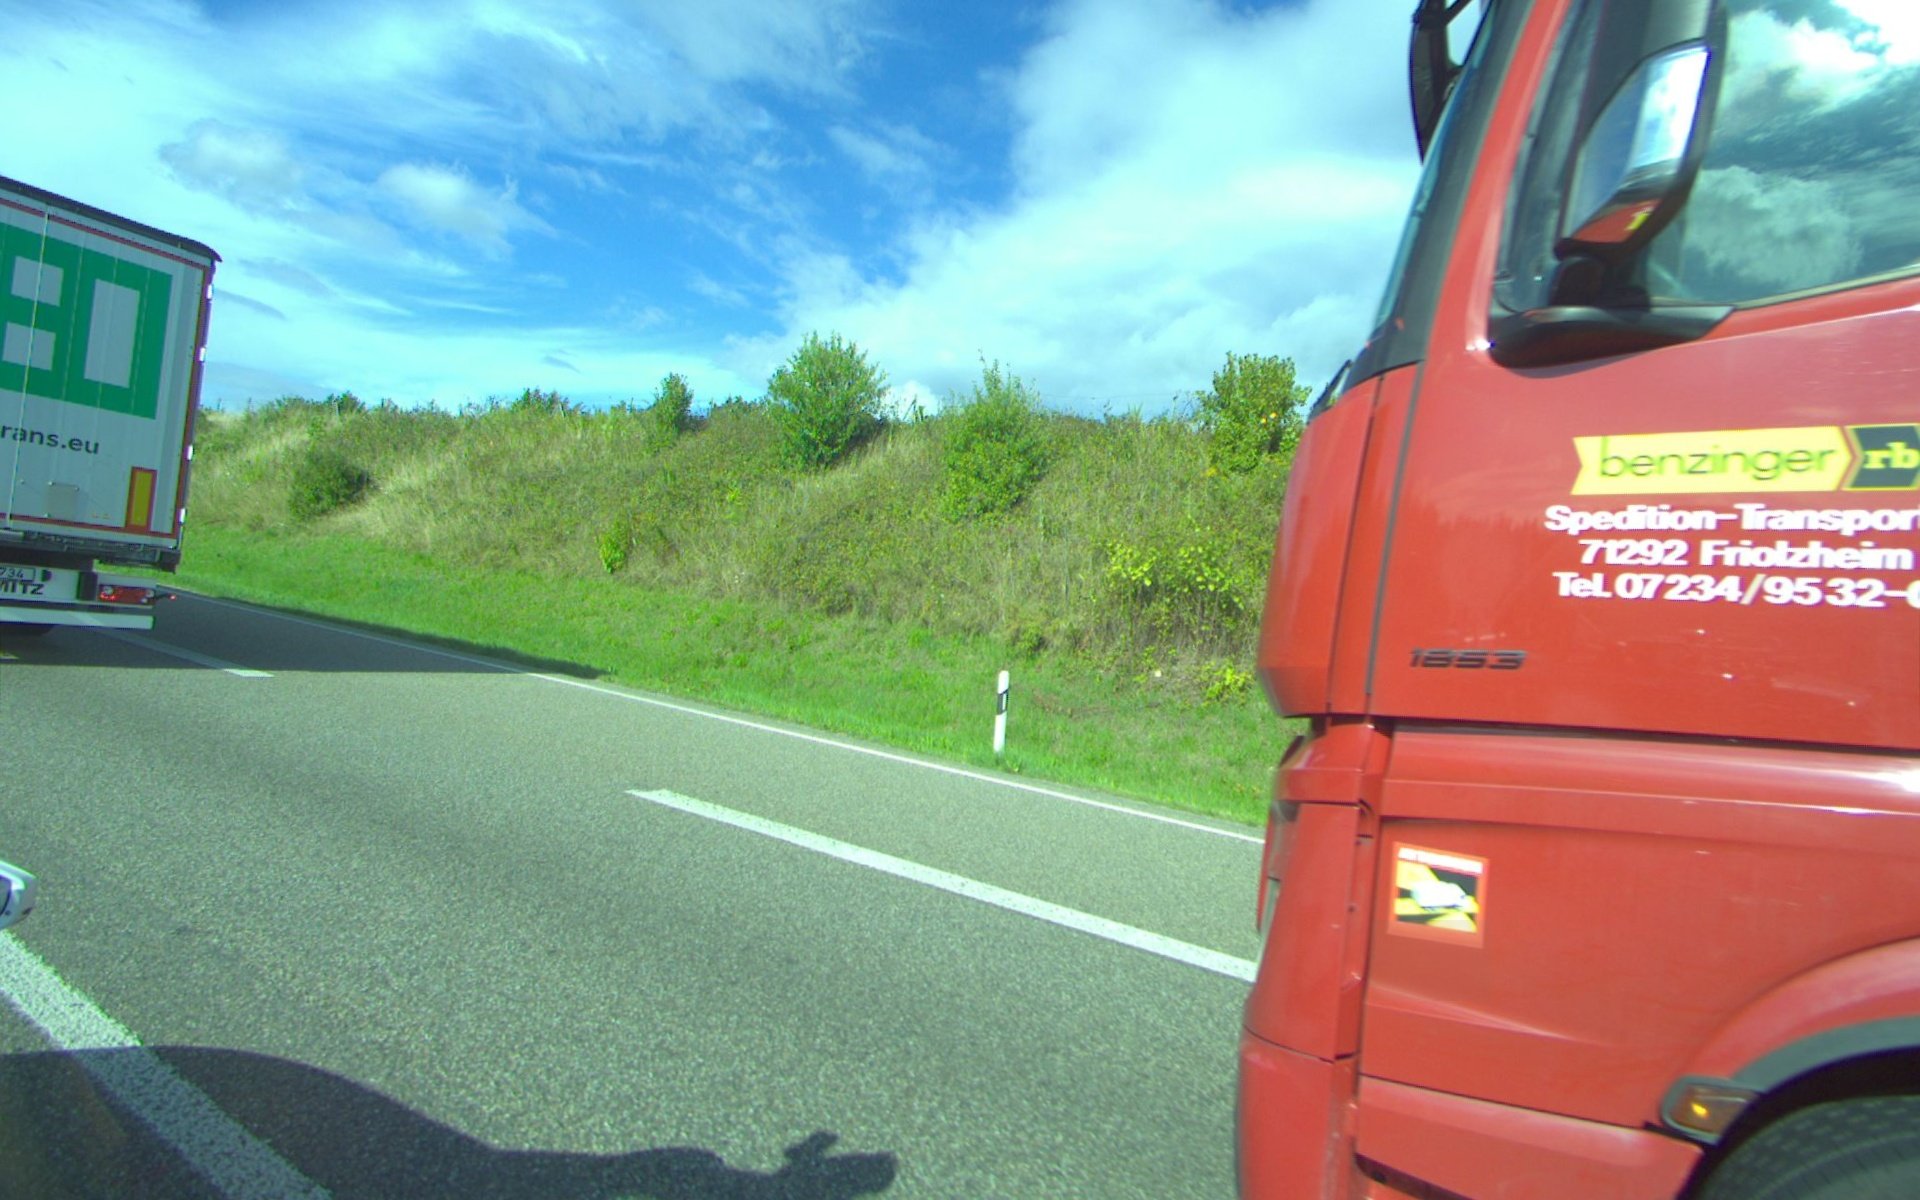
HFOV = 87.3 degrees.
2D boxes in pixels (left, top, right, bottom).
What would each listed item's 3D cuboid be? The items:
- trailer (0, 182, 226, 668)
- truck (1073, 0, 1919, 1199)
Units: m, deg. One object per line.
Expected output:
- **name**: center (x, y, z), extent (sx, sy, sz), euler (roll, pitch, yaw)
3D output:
- **trailer**: center (-13.425, -2.040, 11.876), extent (13.173, 3.915, 2.665), euler (6, -1, 32)
- **truck**: center (3.553, 0.044, 1.706), extent (5.729, 3.984, 2.808), euler (6, -2, 31)
